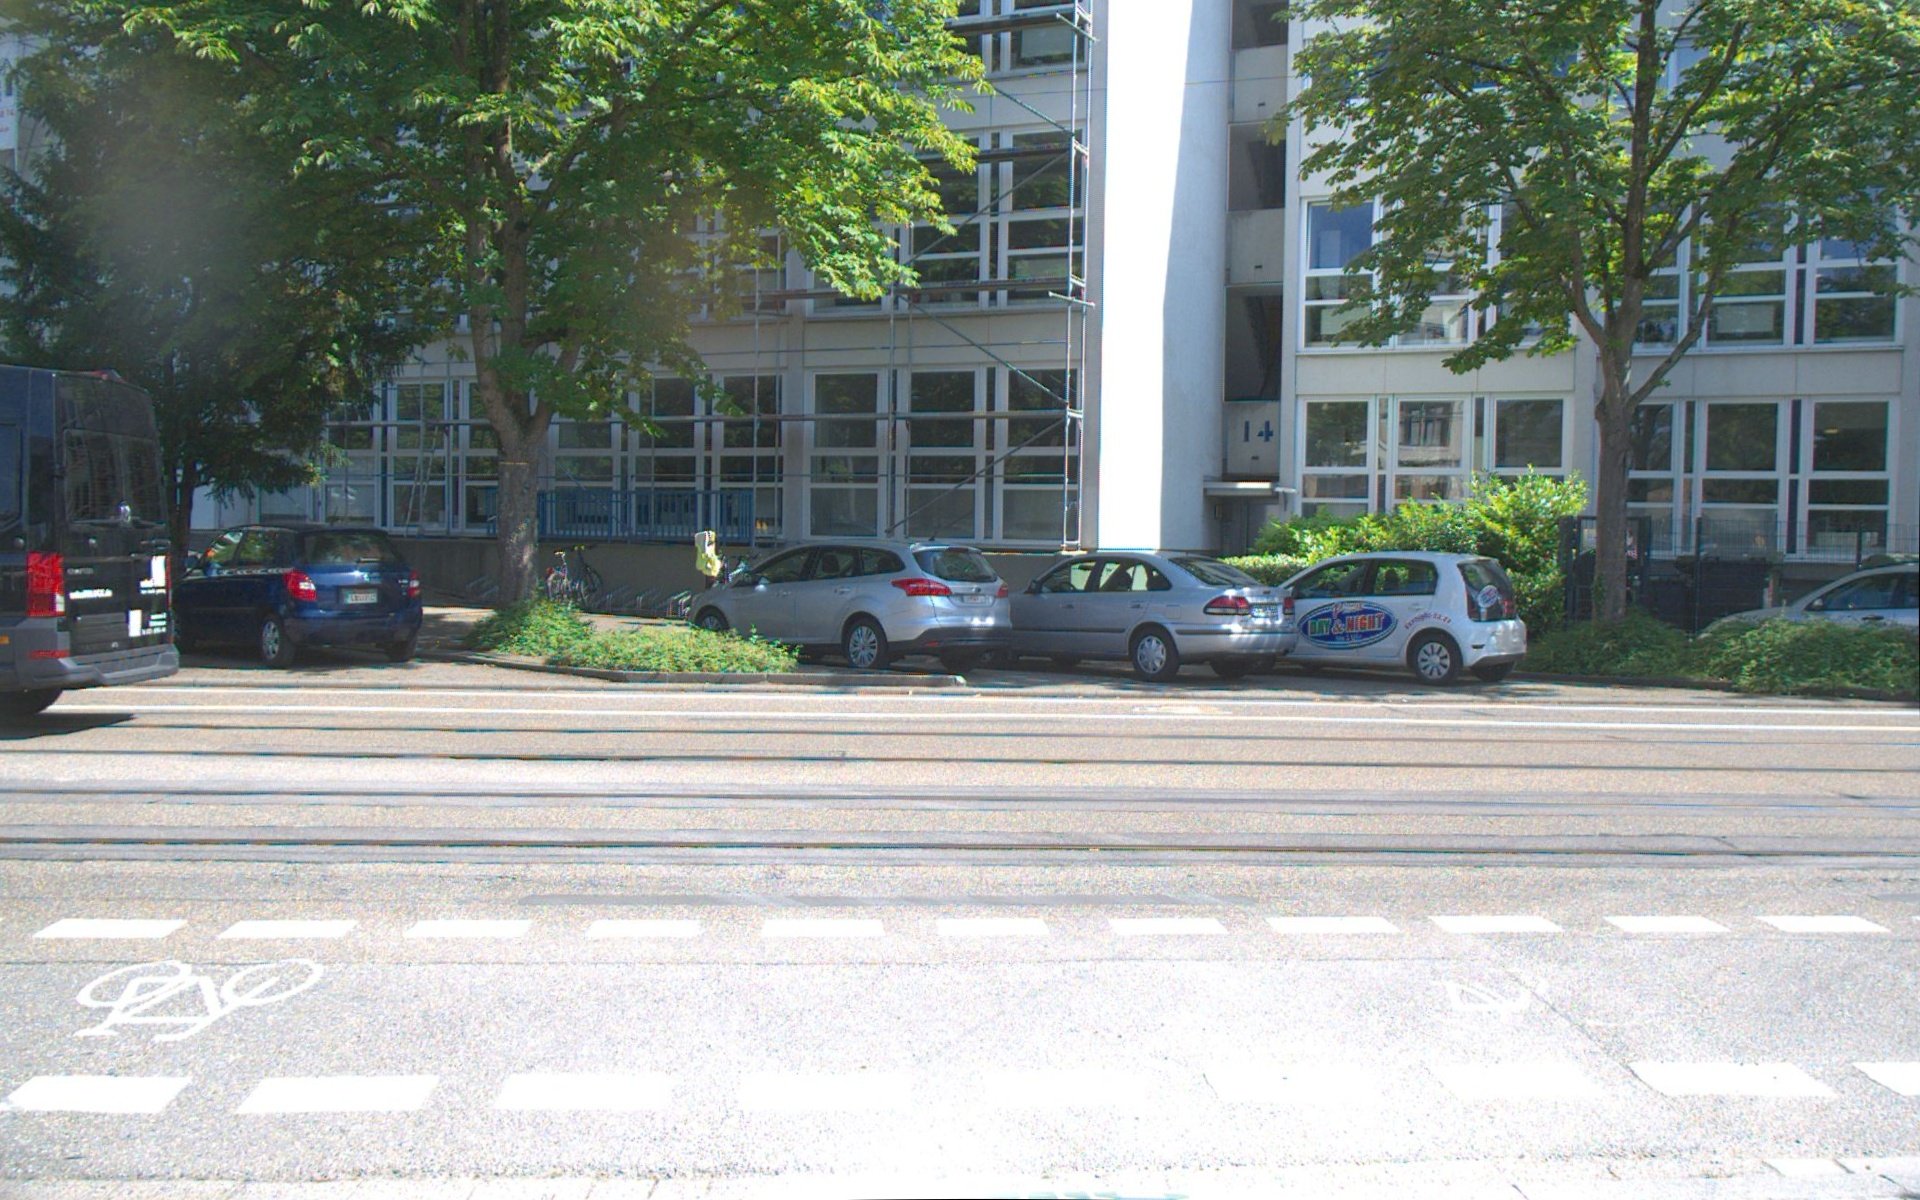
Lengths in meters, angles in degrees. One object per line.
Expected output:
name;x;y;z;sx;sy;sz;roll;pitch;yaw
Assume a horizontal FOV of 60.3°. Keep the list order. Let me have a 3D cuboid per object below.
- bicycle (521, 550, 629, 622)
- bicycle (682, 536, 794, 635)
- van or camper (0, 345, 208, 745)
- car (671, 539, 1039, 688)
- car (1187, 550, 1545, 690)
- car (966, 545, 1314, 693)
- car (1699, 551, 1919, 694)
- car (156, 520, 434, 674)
bicycle;-6.162;-0.250;26.601;0.725;1.104;2.205;1;2;15
bicycle;-3.442;-0.249;25.844;0.648;1.478;2.088;2;2;27
van or camper;-8.789;-0.437;11.939;5.726;2.665;2.050;1;2;-4
car;-1.325;0.079;19.412;4.356;1.512;1.774;3;2;42
car;4.765;0.171;19.736;3.876;1.512;1.603;1;2;43
car;2.021;0.144;19.338;3.878;1.512;1.602;3;2;44
car;11.450;0.268;20.072;4.262;1.632;1.551;2;1;39
car;-7.515;-0.098;18.584;3.396;1.557;1.567;3;2;42
